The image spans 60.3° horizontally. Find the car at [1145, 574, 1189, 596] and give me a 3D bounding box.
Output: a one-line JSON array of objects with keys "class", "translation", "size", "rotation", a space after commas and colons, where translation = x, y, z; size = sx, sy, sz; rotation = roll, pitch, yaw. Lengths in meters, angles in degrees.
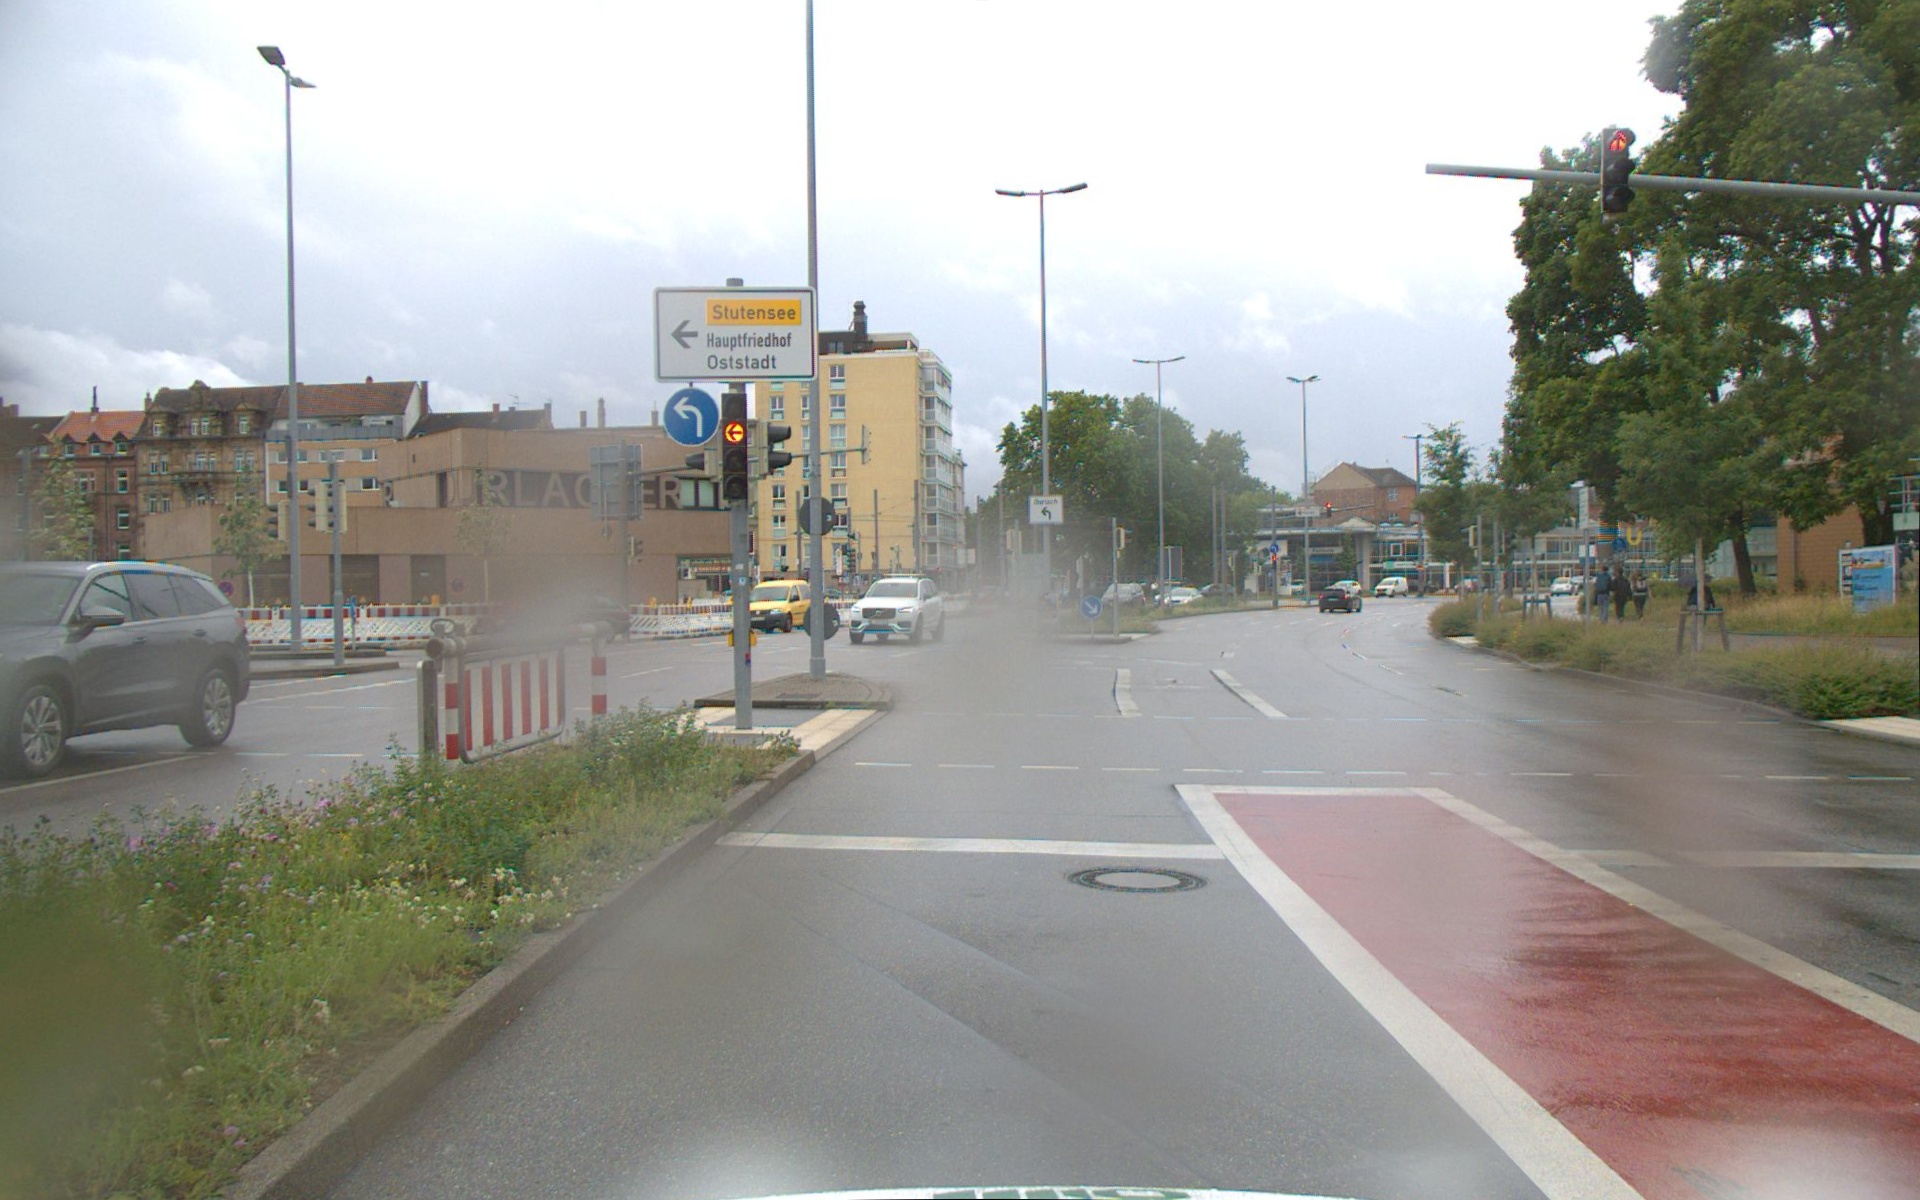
[{"class": "car", "translation": [13.645, -0.962, 108.754], "size": [1.736, 1.400, 4.118], "rotation": [1, 1, 24]}]

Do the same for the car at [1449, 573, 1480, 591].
[{"class": "car", "translation": [48.564, -1.752, 159.175], "size": [1.758, 1.672, 4.035], "rotation": [-1, 1, 33]}]

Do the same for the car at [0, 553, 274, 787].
[{"class": "car", "translation": [-7.796, 0.523, 14.007], "size": [1.953, 1.664, 4.603], "rotation": [-3, 1, 0]}]

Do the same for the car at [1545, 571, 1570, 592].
[{"class": "car", "translation": [49.335, -1.512, 136.544], "size": [1.753, 1.672, 4.159], "rotation": [-1, 1, 23]}]

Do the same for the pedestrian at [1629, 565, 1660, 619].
[{"class": "pedestrian", "translation": [20.987, -0.250, 50.719], "size": [0.688, 1.615, 0.937], "rotation": [-1, 0, 11]}]

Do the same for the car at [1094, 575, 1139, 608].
[{"class": "car", "translation": [9.211, -0.532, 97.247], "size": [1.658, 1.720, 4.186], "rotation": [-1, 2, 19]}]

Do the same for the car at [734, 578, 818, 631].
[{"class": "car", "translation": [-6.341, 0.125, 57.392], "size": [1.669, 1.735, 4.156], "rotation": [-1, 1, 12]}]

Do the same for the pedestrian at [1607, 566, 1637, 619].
[{"class": "pedestrian", "translation": [20.254, -0.232, 50.615], "size": [0.688, 1.615, 0.937], "rotation": [-1, 0, 11]}]

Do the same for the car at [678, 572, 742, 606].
[{"class": "car", "translation": [-22.302, -0.978, 147.714], "size": [5.238, 2.937, 2.340], "rotation": [-1, 1, 4]}]

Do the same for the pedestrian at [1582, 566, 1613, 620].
[{"class": "pedestrian", "translation": [19.419, -0.207, 50.393], "size": [0.737, 1.615, 0.937], "rotation": [-1, 0, 11]}]

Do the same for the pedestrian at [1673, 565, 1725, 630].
[{"class": "pedestrian", "translation": [18.630, -0.066, 41.705], "size": [1.000, 1.615, 0.937], "rotation": [-1, 0, 11]}]

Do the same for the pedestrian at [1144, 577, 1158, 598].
[{"class": "pedestrian", "translation": [17.113, -1.162, 148.234], "size": [1.070, 1.845, 1.118], "rotation": [-1, 1, -3]}]

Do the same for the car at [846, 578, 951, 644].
[{"class": "car", "translation": [-1.643, 0.254, 46.379], "size": [1.787, 1.711, 5.170], "rotation": [1, 1, 11]}]

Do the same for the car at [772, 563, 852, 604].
[{"class": "car", "translation": [-13.141, -1.460, 146.894], "size": [6.600, 3.439, 2.811], "rotation": [-1, 1, 4]}]

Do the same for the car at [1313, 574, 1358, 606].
[{"class": "car", "translation": [20.881, -0.569, 91.815], "size": [1.753, 1.672, 4.159], "rotation": [-1, 1, 23]}]

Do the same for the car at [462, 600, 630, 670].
[{"class": "car", "translation": [-11.236, 0.910, 45.160], "size": [1.676, 1.735, 4.446], "rotation": [-1, 1, 35]}]

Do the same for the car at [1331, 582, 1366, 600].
[{"class": "car", "translation": [36.197, -0.842, 153.951], "size": [1.758, 1.672, 4.384], "rotation": [-1, 1, 33]}]

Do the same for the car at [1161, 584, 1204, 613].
[{"class": "car", "translation": [13.324, -0.108, 98.939], "size": [1.659, 1.440, 4.186], "rotation": [-1, 3, 20]}]

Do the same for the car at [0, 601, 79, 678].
[{"class": "car", "translation": [-19.758, 0.789, 32.335], "size": [4.110, 1.426, 1.616], "rotation": [-1, 1, -6]}]
